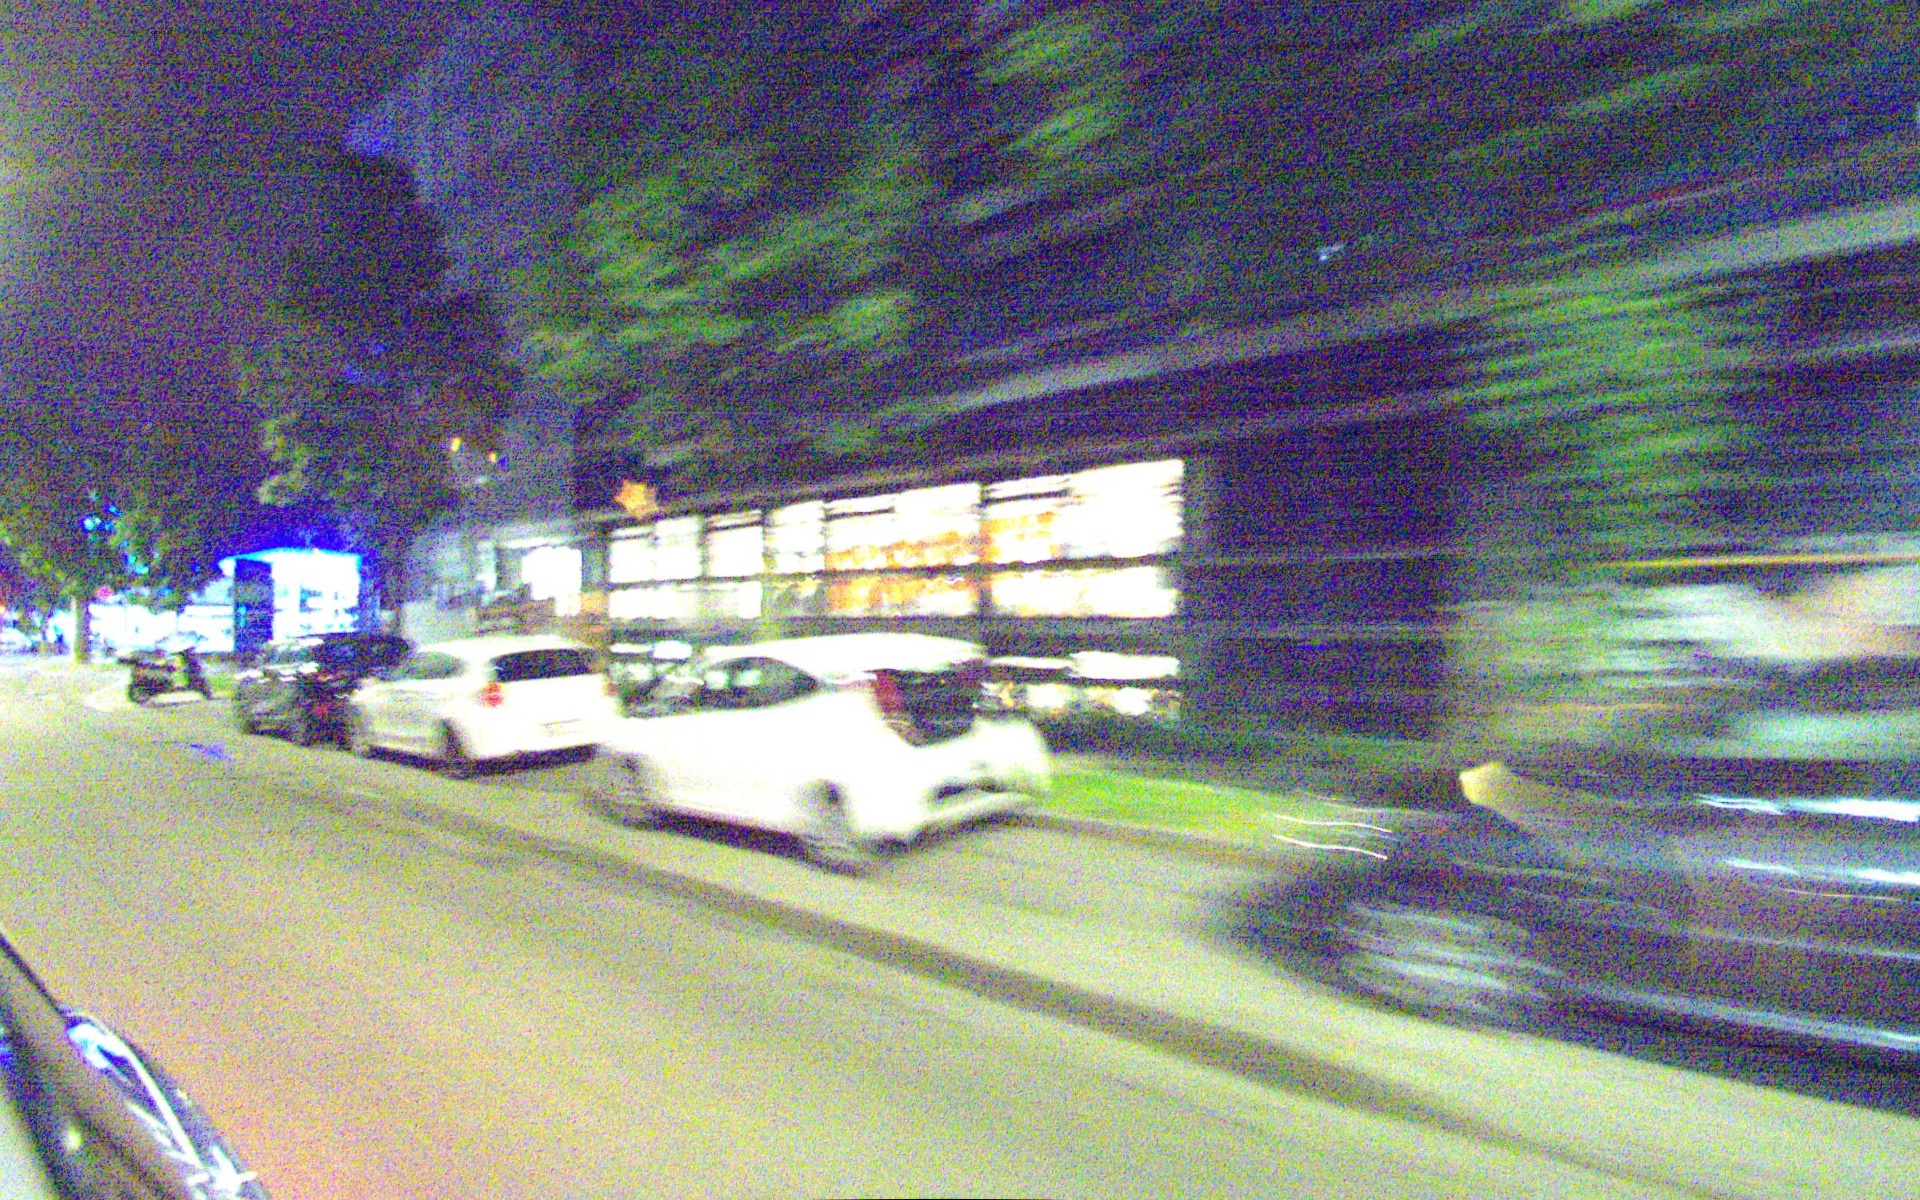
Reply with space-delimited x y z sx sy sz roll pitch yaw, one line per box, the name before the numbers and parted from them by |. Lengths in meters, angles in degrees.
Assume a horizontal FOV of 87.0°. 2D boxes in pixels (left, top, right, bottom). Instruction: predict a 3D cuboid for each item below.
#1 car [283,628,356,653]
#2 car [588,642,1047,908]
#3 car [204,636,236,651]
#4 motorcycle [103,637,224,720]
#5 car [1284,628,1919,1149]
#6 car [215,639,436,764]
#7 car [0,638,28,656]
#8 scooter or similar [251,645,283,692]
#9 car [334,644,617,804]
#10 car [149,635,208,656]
car | -41.418 2.578 65.487 1.669 1.544 3.711 -2 -2 40
car | -1.181 1.086 7.573 3.366 1.466 1.532 -2 0 40
car | -75.049 4.429 102.623 4.083 1.489 1.710 -2 -2 40
motorcycle | -16.536 1.595 21.067 0.635 1.561 1.894 -1 0 21
car | 3.380 0.882 3.660 3.858 1.516 1.629 -3 -2 40
car | -9.342 1.367 14.781 3.901 1.516 1.626 -2 0 40
car | -93.033 4.594 98.256 1.633 1.712 3.529 -2 -3 40
scooter or similar | -18.697 1.841 27.291 1.427 1.213 0.363 -1 -2 41
car | -5.640 1.270 11.571 3.901 1.440 1.430 -2 0 40
car | -72.325 4.183 93.658 1.852 1.873 4.030 -2 -2 41
